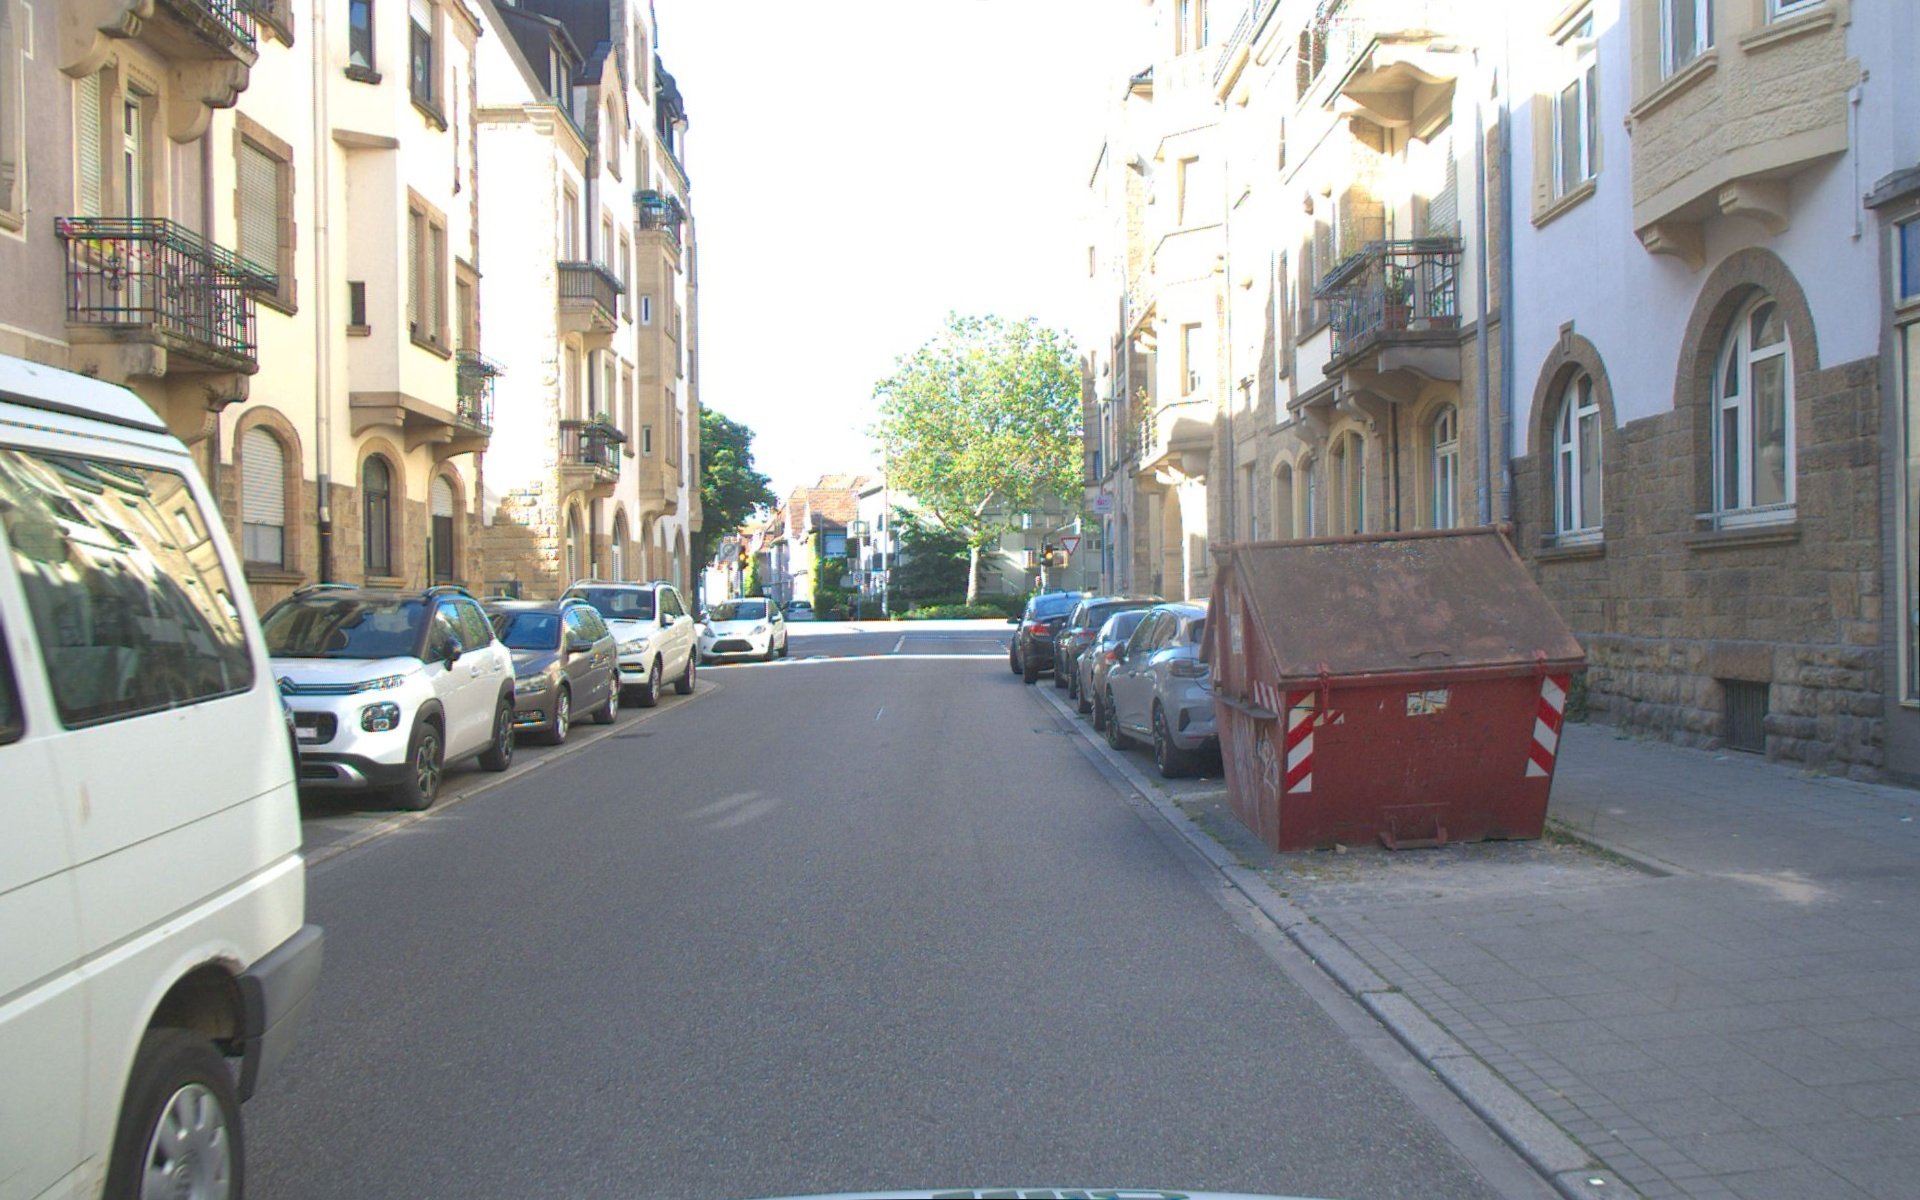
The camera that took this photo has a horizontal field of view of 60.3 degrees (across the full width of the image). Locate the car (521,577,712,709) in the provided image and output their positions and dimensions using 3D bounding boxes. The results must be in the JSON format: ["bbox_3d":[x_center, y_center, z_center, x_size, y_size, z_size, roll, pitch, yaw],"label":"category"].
[{"bbox_3d":[-5.009,0.575,24.788,1.853,1.752,4.726,-1,0,0],"label":"car"}]

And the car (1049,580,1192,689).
[{"bbox_3d":[2.359,0.467,25.245,1.618,1.467,4.257,-2,0,-2],"label":"car"}]

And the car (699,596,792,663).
[{"bbox_3d":[-5.089,0.669,39.597,1.600,1.489,3.735,-1,0,2],"label":"car"}]

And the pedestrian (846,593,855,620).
[{"bbox_3d":[-7.165,0.407,108.180,0.620,1.780,0.659,0,-1,-4],"label":"pedestrian"}]

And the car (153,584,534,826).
[{"bbox_3d":[-4.747,0.707,13.367,1.680,1.611,4.019,2,0,-3],"label":"car"}]

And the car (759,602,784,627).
[{"bbox_3d":[-16.275,1.268,142.563,1.957,2.049,3.992,-2,0,-9],"label":"car"}]

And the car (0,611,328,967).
[{"bbox_3d":[-4.917,0.823,8.835,1.638,1.417,3.666,2,0,0],"label":"car"}]

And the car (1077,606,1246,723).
[{"bbox_3d":[2.364,0.720,20.245,1.658,1.276,3.941,0,0,1],"label":"car"}]

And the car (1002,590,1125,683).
[{"bbox_3d":[1.788,0.603,29.847,1.828,1.487,4.338,-2,0,-1],"label":"car"}]

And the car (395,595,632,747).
[{"bbox_3d":[-4.937,0.714,18.856,1.541,1.513,4.279,0,0,0],"label":"car"}]

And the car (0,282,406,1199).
[{"bbox_3d":[-2.349,0.522,2.078,1.826,1.971,4.598,-1,0,-2],"label":"car"}]

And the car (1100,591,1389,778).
[{"bbox_3d":[2.460,0.666,15.227,1.751,1.454,3.804,-1,0,-4],"label":"car"}]

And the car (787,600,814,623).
[{"bbox_3d":[-10.600,0.774,109.942,1.640,1.508,3.520,0,-1,-3],"label":"car"}]
